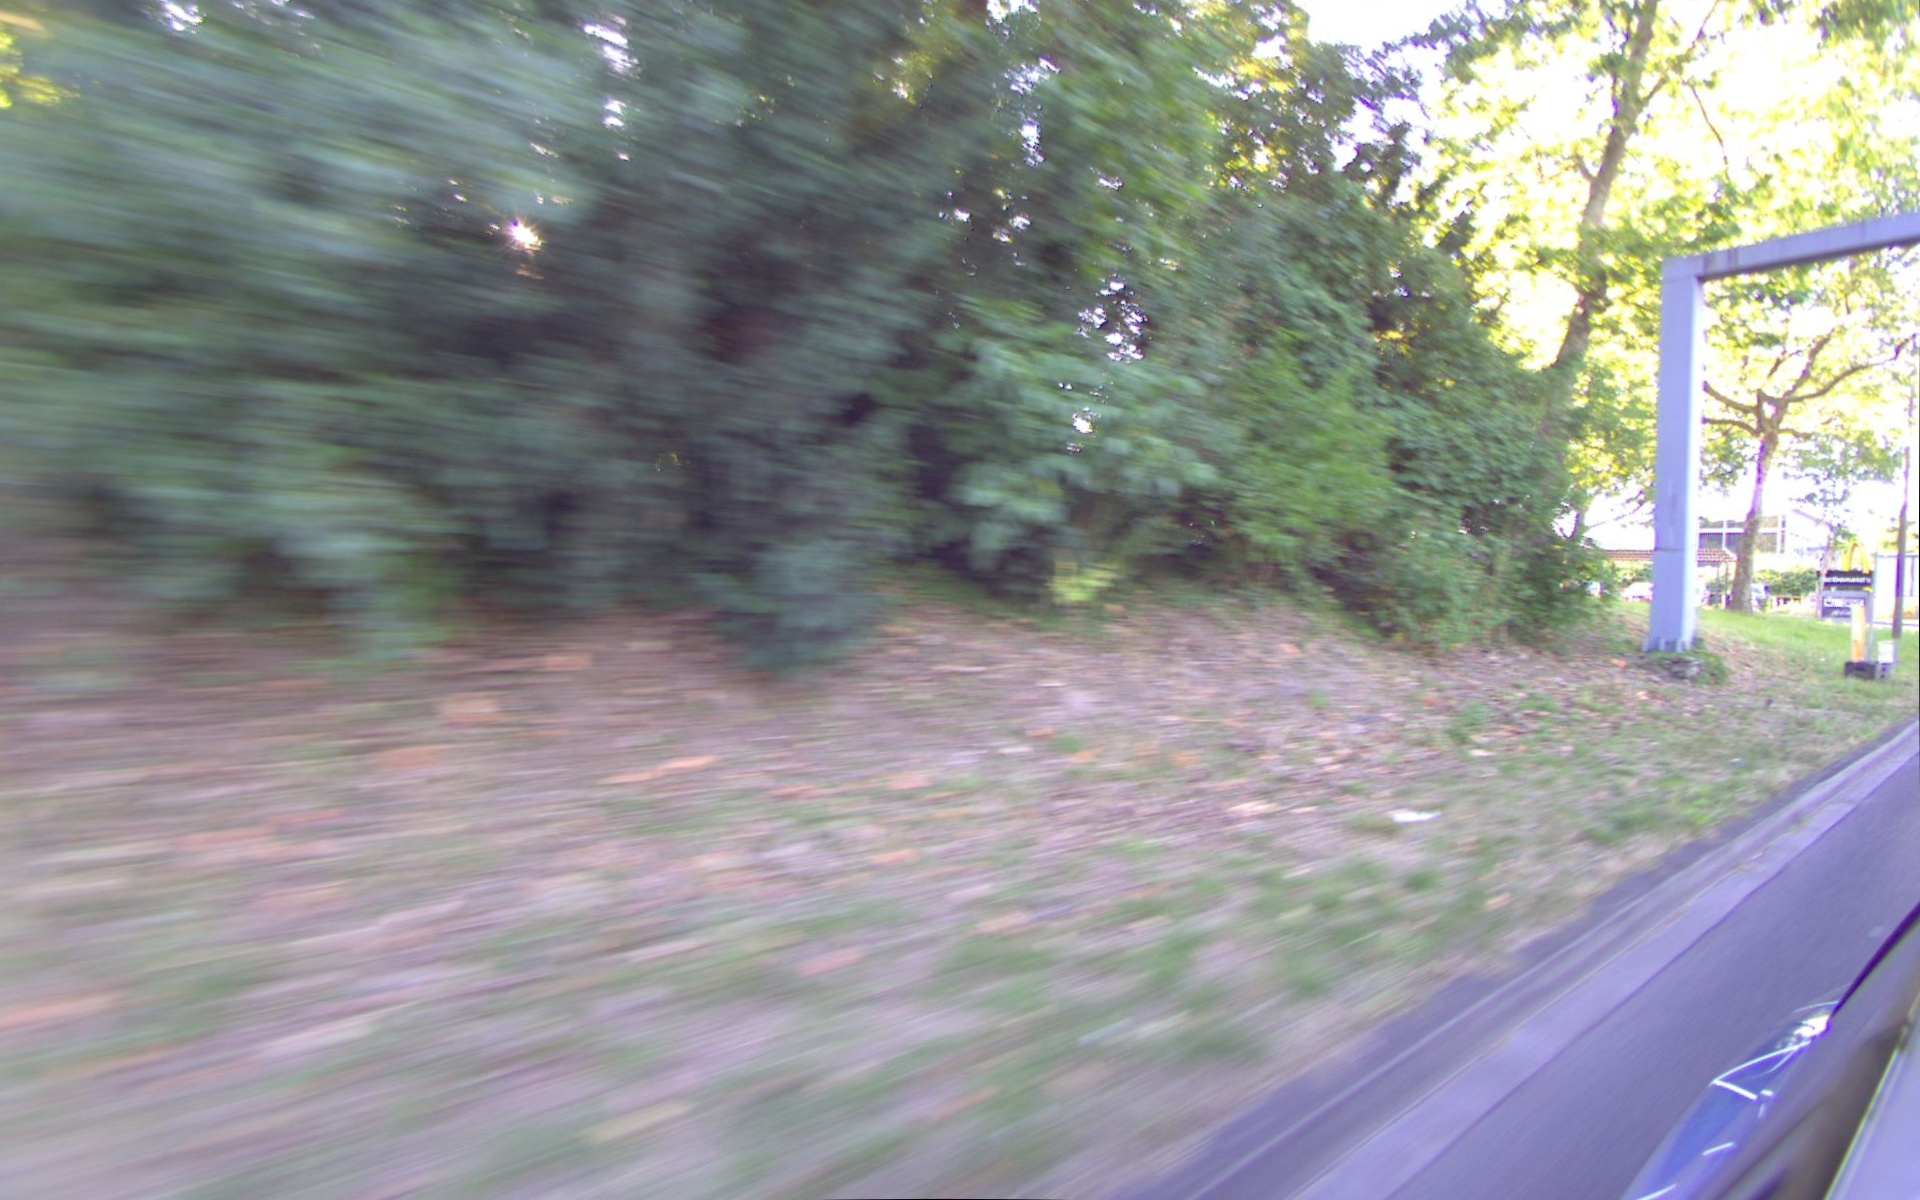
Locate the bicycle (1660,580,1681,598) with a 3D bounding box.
[{"bbox_3d":[43.008,-0.644,61.245,1.860,1.051,0.544,0,3,-40],"label":"bicycle"}]

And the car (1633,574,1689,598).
[{"bbox_3d":[54.309,-1.074,78.370,3.921,1.656,2.123,1,3,-32],"label":"car"}]

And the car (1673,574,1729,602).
[{"bbox_3d":[47.600,-0.765,65.006,3.931,1.668,2.117,1,3,-42],"label":"car"}]

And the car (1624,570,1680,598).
[{"bbox_3d":[46.387,-1.049,67.840,4.246,1.668,2.117,1,3,-42],"label":"car"}]

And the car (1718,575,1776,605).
[{"bbox_3d":[49.488,-0.629,63.601,4.155,1.668,2.117,1,3,-42],"label":"car"}]

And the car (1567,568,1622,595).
[{"bbox_3d":[43.917,-1.270,70.018,4.246,1.668,2.117,1,3,-42],"label":"car"}]

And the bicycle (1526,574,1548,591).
[{"bbox_3d":[38.311,-1.177,67.200,1.858,1.051,0.544,1,3,-36],"label":"bicycle"}]

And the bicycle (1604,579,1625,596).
[{"bbox_3d":[41.196,-0.788,63.661,1.860,1.051,0.544,0,3,-40],"label":"bicycle"}]

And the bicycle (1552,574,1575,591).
[{"bbox_3d":[39.318,-1.164,65.927,1.858,1.051,0.544,1,3,-36],"label":"bicycle"}]
